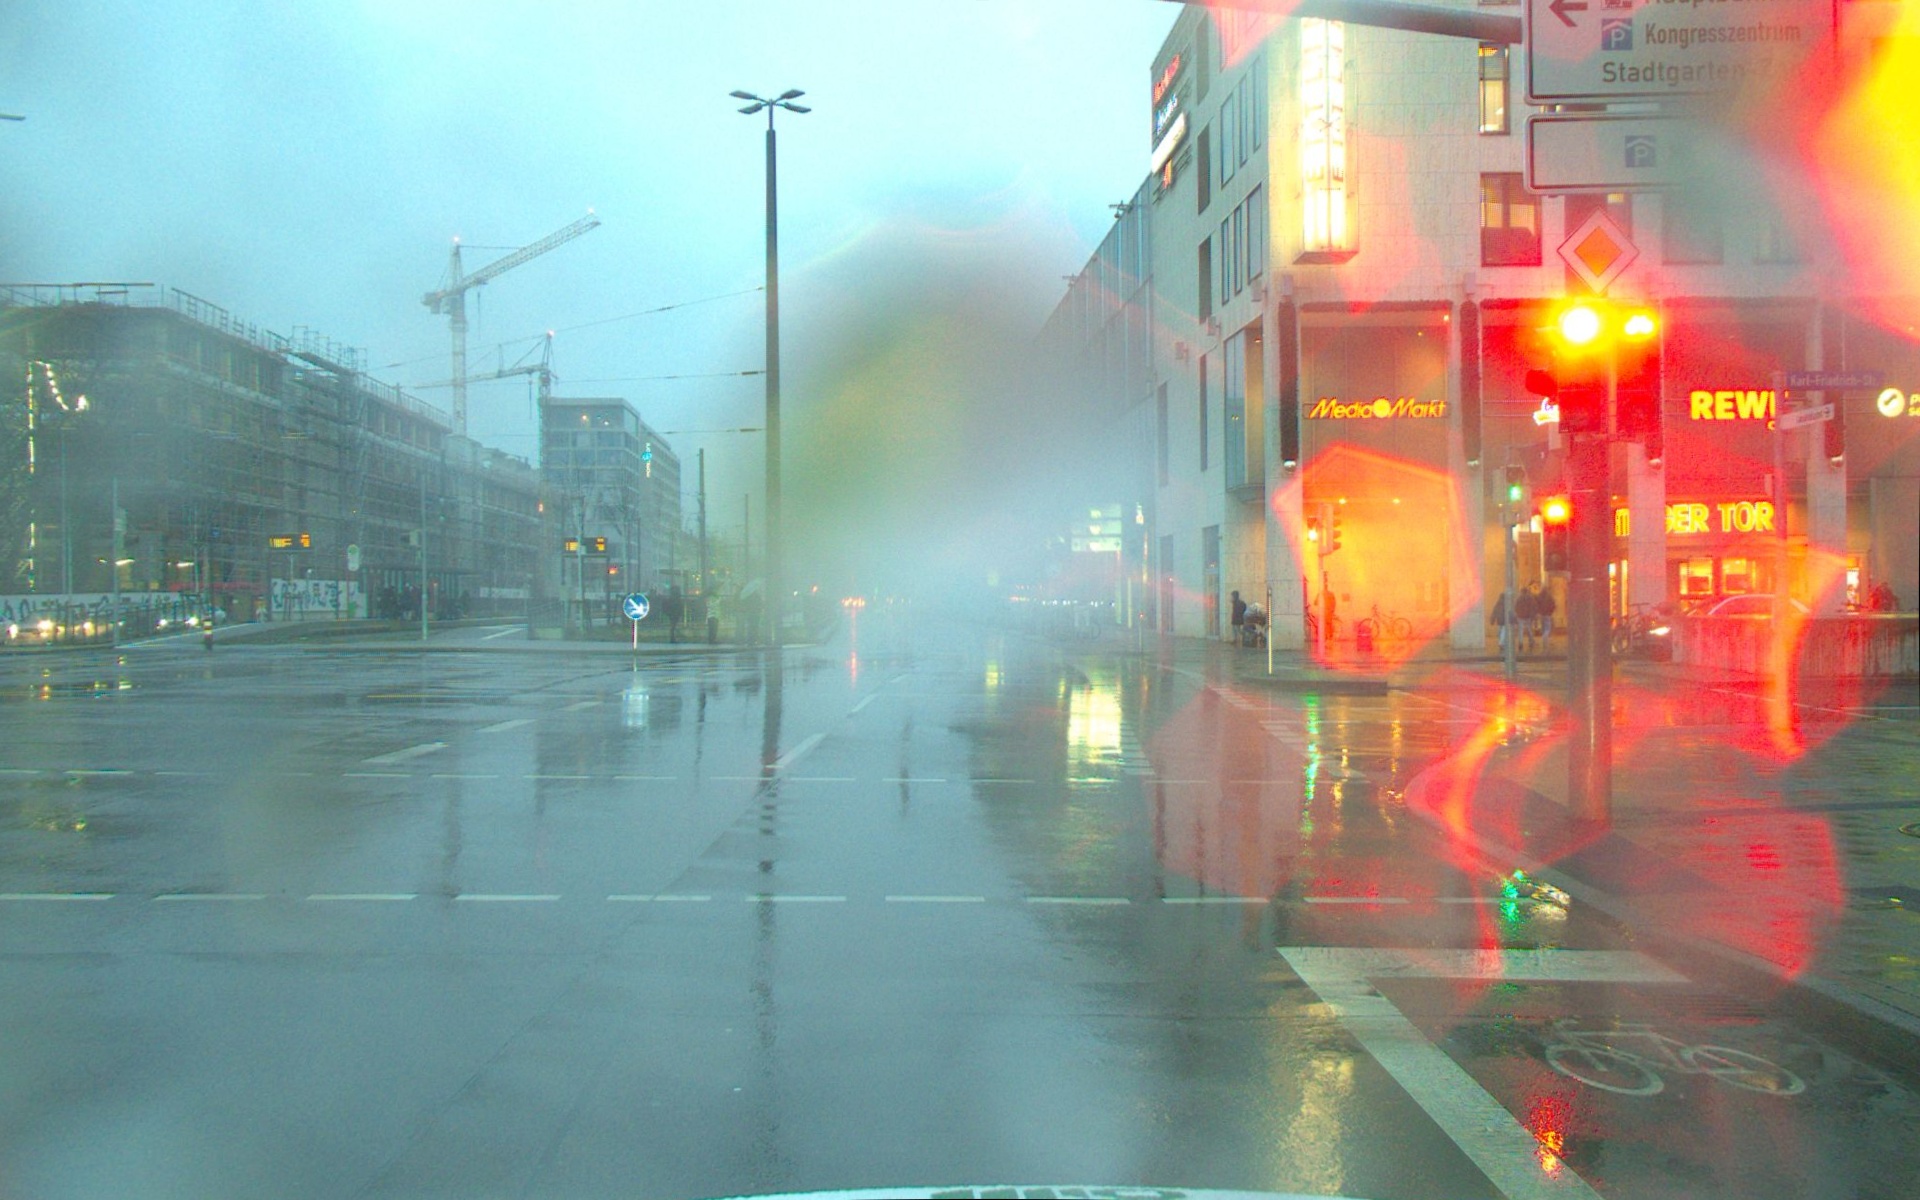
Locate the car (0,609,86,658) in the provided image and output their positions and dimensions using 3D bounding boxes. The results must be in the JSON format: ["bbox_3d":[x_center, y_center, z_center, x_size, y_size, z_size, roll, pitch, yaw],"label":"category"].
[{"bbox_3d":[-37.244,1.328,67.085,1.830,1.860,3.993,1,0,-8],"label":"car"}]

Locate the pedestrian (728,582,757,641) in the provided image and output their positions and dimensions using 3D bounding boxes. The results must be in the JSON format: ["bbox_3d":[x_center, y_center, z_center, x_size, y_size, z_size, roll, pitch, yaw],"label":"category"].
[{"bbox_3d":[-6.298,0.330,47.931,0.601,1.715,0.575,0,-1,41],"label":"pedestrian"}]

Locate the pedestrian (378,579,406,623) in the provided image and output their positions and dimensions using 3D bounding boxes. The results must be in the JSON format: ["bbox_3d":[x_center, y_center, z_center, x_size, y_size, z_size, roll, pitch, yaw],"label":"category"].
[{"bbox_3d":[-26.761,0.031,77.904,0.923,2.049,1.094,1,-1,0],"label":"pedestrian"}]

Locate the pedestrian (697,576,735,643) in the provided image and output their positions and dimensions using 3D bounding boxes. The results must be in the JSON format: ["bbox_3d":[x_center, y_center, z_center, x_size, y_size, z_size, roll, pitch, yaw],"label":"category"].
[{"bbox_3d":[-6.855,0.278,46.483,0.813,1.863,0.777,1,-1,-31],"label":"pedestrian"}]

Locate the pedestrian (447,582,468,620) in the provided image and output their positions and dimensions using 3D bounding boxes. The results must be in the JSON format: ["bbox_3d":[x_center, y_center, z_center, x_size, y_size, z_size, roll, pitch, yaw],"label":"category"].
[{"bbox_3d":[-27.608,0.071,90.909,0.925,2.049,1.091,1,-1,-10],"label":"pedestrian"}]

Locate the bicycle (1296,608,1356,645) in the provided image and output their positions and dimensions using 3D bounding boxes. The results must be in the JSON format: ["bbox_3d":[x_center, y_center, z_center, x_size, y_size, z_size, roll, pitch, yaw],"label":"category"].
[{"bbox_3d":[11.252,0.815,50.846,1.734,1.088,0.523,1,-1,-9],"label":"bicycle"}]

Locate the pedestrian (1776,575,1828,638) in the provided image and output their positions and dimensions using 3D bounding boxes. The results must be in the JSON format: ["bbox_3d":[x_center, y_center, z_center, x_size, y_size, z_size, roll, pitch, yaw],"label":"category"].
[{"bbox_3d":[23.579,0.184,46.329,1.009,1.713,0.824,1,-1,-1],"label":"pedestrian"}]

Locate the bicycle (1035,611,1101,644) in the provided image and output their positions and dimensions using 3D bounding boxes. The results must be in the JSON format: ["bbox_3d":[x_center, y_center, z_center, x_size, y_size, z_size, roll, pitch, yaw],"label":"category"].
[{"bbox_3d":[4.018,1.019,61.644,2.393,1.174,0.674,-1,-1,-2],"label":"bicycle"}]

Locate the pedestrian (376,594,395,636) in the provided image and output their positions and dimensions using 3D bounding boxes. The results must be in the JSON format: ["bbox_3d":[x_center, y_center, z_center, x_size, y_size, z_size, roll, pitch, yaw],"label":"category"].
[{"bbox_3d":[-26.617,0.686,76.653,0.684,1.913,0.553,1,-1,-2],"label":"pedestrian"}]

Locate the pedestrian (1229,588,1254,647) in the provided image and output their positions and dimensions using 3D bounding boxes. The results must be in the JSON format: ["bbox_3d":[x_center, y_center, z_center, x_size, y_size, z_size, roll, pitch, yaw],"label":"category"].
[{"bbox_3d":[8.417,0.516,49.524,0.624,1.739,0.573,-1,0,-2],"label":"pedestrian"}]

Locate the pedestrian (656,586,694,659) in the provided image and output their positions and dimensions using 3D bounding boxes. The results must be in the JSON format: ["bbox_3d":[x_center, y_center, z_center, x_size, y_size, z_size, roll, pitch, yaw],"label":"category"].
[{"bbox_3d":[-8.136,0.634,47.211,0.771,2.049,0.724,0,-1,41],"label":"pedestrian"}]

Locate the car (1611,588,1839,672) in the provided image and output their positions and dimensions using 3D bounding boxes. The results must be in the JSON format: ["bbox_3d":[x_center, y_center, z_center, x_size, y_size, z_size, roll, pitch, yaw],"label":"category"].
[{"bbox_3d":[16.177,0.623,35.113,3.905,1.646,2.000,1,0,0],"label":"car"}]

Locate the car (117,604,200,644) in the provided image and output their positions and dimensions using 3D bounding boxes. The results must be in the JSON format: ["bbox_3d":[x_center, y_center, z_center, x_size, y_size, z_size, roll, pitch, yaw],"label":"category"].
[{"bbox_3d":[-38.014,1.108,78.550,1.953,1.822,3.999,1,0,-1],"label":"car"}]

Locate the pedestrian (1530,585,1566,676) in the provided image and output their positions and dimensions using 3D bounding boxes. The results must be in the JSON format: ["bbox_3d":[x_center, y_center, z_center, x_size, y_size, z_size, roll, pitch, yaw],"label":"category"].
[{"bbox_3d":[16.265,0.834,45.735,0.679,2.491,0.791,1,-1,-1],"label":"pedestrian"}]

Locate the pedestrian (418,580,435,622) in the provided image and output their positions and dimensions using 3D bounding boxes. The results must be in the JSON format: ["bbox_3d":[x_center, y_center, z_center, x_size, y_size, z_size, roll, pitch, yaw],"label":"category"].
[{"bbox_3d":[-25.919,0.048,80.384,0.559,2.002,0.664,2,-1,-7],"label":"pedestrian"}]

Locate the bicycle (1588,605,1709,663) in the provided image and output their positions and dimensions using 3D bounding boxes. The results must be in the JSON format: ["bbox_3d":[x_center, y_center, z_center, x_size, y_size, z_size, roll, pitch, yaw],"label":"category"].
[{"bbox_3d":[17.203,0.840,41.353,2.659,1.383,0.957,-1,-1,-4],"label":"bicycle"}]

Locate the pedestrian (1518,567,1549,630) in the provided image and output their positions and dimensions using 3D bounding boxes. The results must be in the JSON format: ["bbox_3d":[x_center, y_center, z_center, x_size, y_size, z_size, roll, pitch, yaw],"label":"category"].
[{"bbox_3d":[18.913,-0.043,54.531,0.828,2.049,0.698,-1,0,8],"label":"pedestrian"}]

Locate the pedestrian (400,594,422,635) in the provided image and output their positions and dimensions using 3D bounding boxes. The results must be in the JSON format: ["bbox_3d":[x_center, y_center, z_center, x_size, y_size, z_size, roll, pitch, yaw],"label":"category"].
[{"bbox_3d":[-26.232,0.685,79.051,0.750,1.931,0.762,1,-2,-1],"label":"pedestrian"}]

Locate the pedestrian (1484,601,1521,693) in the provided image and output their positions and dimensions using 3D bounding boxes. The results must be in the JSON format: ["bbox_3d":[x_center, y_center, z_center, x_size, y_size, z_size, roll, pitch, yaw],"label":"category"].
[{"bbox_3d":[14.773,1.275,45.048,0.700,2.484,0.758,1,-1,-1],"label":"pedestrian"}]

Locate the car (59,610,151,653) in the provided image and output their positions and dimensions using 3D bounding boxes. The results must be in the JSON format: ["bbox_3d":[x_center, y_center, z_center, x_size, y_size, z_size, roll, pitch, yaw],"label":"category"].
[{"bbox_3d":[-37.695,1.352,73.005,1.953,1.822,3.999,1,0,-1],"label":"car"}]

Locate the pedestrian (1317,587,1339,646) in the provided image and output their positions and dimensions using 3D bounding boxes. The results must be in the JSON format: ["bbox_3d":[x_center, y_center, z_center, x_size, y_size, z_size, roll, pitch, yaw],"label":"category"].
[{"bbox_3d":[11.185,0.513,50.275,0.587,1.775,0.525,1,-1,7],"label":"pedestrian"}]

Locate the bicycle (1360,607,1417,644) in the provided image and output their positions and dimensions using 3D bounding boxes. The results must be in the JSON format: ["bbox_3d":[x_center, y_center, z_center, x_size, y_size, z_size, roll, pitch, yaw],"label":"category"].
[{"bbox_3d":[13.206,0.781,51.006,1.614,1.088,0.524,1,-1,-5],"label":"bicycle"}]

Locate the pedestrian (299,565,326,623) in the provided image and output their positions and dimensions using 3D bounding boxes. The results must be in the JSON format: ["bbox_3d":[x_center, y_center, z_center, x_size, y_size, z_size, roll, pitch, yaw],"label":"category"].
[{"bbox_3d":[-26.792,-0.237,68.413,0.750,2.364,0.762,1,-2,-1],"label":"pedestrian"}]

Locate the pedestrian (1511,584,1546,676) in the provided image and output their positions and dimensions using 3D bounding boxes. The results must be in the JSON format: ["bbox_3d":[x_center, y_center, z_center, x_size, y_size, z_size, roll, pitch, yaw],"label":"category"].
[{"bbox_3d":[15.547,0.826,45.248,0.675,2.484,0.758,1,-1,-1],"label":"pedestrian"}]

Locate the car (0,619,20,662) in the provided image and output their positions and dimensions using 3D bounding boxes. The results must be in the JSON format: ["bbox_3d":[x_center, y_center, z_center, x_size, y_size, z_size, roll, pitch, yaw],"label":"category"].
[{"bbox_3d":[-36.404,1.512,60.541,2.038,1.557,4.604,-1,0,-10],"label":"car"}]

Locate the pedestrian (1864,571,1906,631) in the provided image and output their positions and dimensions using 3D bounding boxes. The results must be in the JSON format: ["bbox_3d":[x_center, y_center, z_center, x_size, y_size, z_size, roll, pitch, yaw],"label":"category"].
[{"bbox_3d":[26.872,0.030,48.043,0.875,1.714,0.528,-1,-1,-1],"label":"pedestrian"}]

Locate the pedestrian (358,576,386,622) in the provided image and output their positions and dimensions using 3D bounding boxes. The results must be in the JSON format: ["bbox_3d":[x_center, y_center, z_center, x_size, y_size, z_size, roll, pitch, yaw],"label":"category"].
[{"bbox_3d":[-26.881,-0.045,75.624,0.923,2.049,1.093,1,-1,-3],"label":"pedestrian"}]
